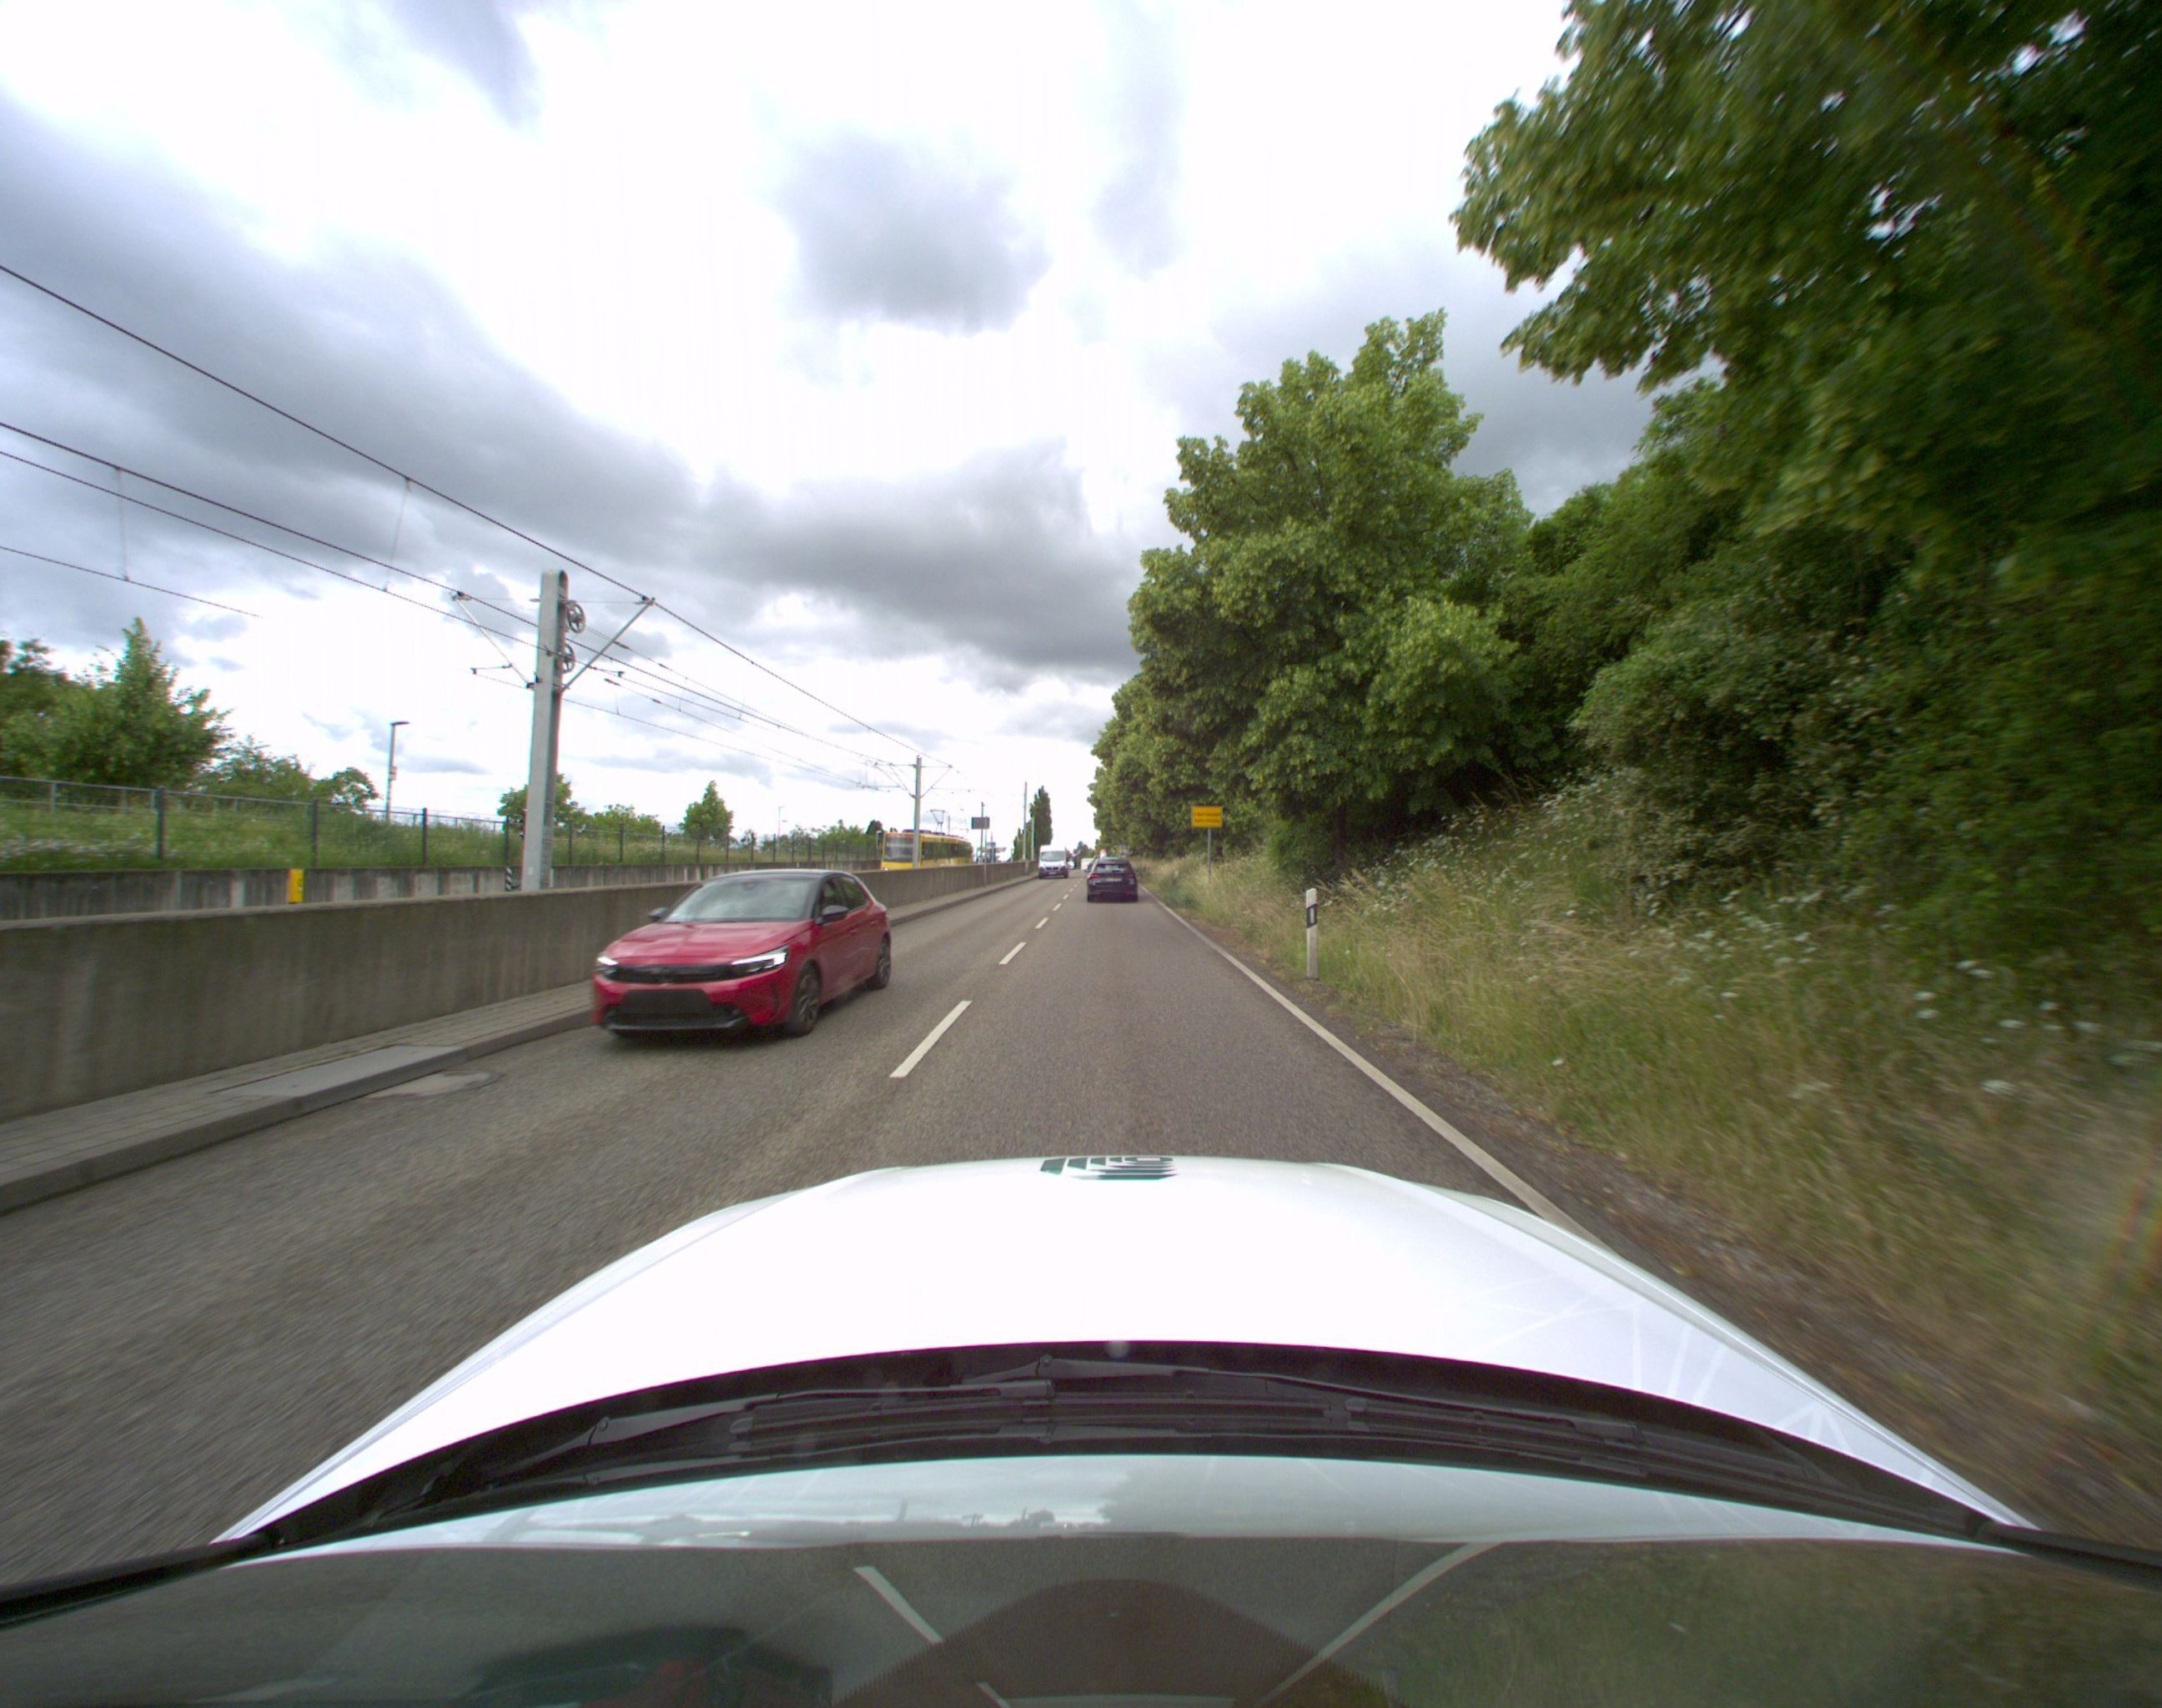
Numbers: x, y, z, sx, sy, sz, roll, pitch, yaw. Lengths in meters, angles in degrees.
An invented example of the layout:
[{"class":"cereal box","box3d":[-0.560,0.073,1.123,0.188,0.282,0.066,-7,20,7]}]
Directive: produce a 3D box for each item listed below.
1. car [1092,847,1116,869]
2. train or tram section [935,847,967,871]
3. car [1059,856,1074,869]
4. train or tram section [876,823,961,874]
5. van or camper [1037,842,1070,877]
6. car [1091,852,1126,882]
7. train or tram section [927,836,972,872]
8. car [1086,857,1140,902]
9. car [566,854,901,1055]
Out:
[{"class":"car","box3d":[1.938,0.373,68.920,1.986,1.740,4.001,-1,-1,1]},{"class":"train or tram section","box3d":[-18.630,0.813,115.787,2.800,3.022,18.786,-1,-1,-14]},{"class":"car","box3d":[-1.892,1.087,105.436,1.727,1.572,3.997,-2,0,-2]},{"class":"train or tram section","box3d":[-11.445,-0.174,59.903,2.804,3.117,18.902,-1,-1,-1]},{"class":"van or camper","box3d":[-2.006,0.402,60.617,2.075,2.396,6.138,-1,0,1]},{"class":"car","box3d":[1.664,0.760,49.568,1.986,1.753,4.001,0,0,1]},{"class":"train or tram section","box3d":[-12.433,0.149,78.702,2.799,3.077,19.066,-1,-1,-5]},{"class":"car","box3d":[1.128,0.846,28.884,1.775,1.468,4.001,0,0,1]},{"class":"car","box3d":[-3.166,0.795,8.367,1.657,1.545,3.953,-1,0,1]}]
